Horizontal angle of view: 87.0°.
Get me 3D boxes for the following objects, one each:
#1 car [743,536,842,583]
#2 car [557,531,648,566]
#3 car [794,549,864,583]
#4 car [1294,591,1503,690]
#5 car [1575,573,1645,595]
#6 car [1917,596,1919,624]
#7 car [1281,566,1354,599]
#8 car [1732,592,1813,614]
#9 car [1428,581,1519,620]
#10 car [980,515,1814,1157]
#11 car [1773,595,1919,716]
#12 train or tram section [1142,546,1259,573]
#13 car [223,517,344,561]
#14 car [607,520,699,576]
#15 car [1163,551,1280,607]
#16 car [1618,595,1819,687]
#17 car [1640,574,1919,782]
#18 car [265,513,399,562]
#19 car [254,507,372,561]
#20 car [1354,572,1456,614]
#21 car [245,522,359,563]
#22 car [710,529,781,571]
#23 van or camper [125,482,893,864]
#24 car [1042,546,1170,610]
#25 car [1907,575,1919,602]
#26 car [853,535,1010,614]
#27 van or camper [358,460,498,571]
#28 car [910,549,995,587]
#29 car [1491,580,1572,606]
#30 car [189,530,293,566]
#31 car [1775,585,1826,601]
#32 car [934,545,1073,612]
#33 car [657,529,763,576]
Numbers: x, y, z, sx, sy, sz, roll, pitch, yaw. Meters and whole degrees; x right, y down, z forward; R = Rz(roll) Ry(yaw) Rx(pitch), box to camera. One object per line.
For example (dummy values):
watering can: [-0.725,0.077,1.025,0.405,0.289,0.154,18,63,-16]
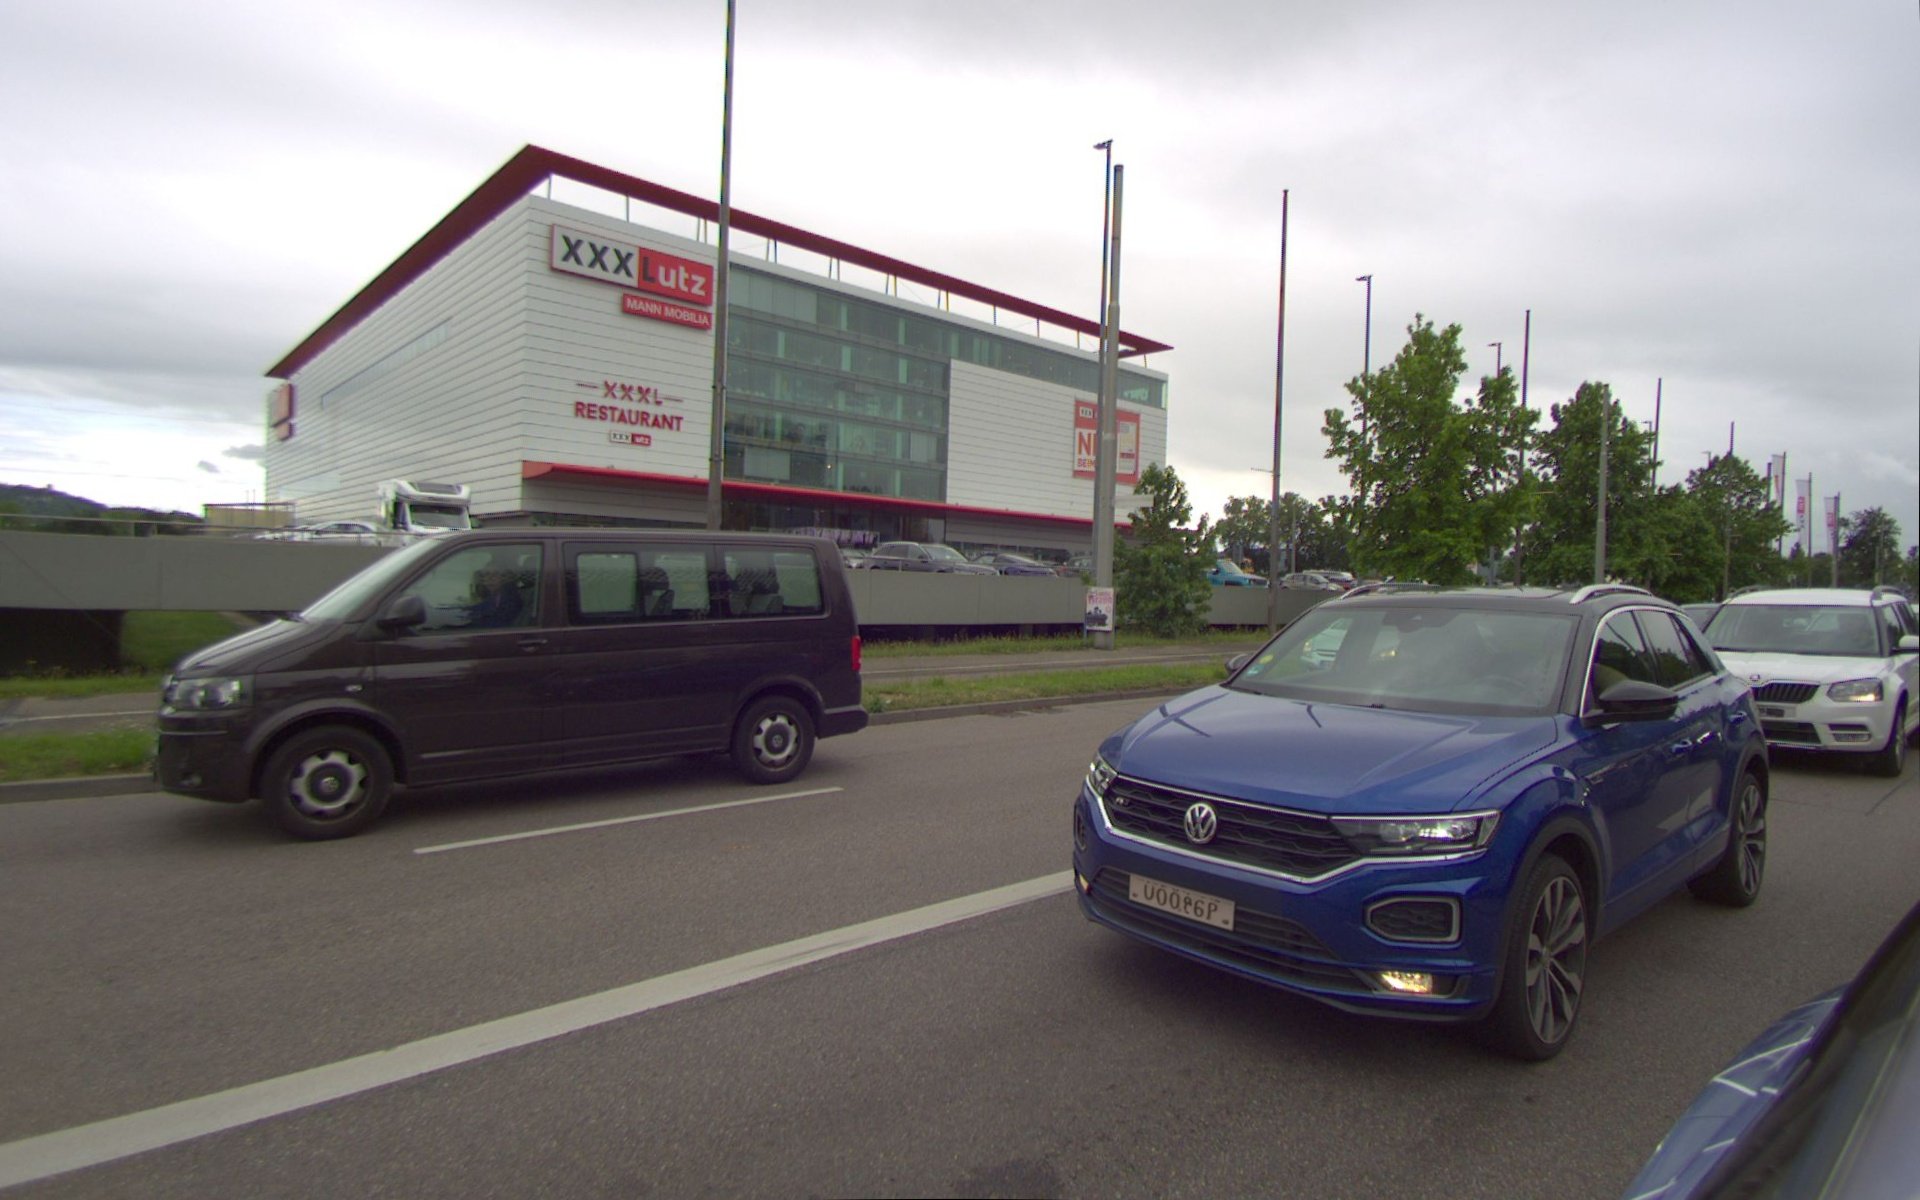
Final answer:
car: [-7.677,-1.834,46.551,4.112,2.039,1.995,0,0,10]
car: [-18.703,-2.671,53.022,4.185,1.697,1.774,-1,0,-41]
car: [-7.352,-1.878,56.647,1.967,1.761,3.991,-1,0,-43]
car: [7.119,0.562,16.261,3.860,1.389,1.691,-1,1,-43]
car: [47.520,-1.138,74.002,1.765,1.585,3.994,-1,0,-40]
car: [57.142,0.654,58.820,4.144,1.594,1.800,3,-2,-41]
car: [22.907,-1.113,64.943,1.966,2.039,3.991,0,0,-42]
car: [56.938,0.197,70.971,1.771,1.433,4.212,-1,1,-41]
car: [28.071,-0.002,55.423,1.965,2.039,3.994,0,0,-41]
car: [2.290,0.577,4.676,4.255,1.642,1.845,-1,0,-40]
car: [12.882,0.667,14.032,4.145,1.433,1.800,-1,1,-41]
train or tram section: [44.561,-7.468,189.480,3.572,4.899,23.232,0,1,-43]
car: [-29.032,-2.595,43.493,4.185,1.697,1.774,-1,0,-41]
car: [-11.695,-1.918,38.470,1.839,1.972,3.859,0,0,-44]
car: [10.084,-0.791,39.188,1.966,2.039,3.991,0,0,-42]
car: [13.551,0.687,17.974,4.790,1.429,1.815,2,-1,-40]
car: [8.526,0.589,10.084,4.297,1.645,1.798,-1,0,-40]
car: [-24.298,-2.380,39.233,4.185,1.697,1.774,-1,0,-41]
car: [-26.724,-2.669,41.863,3.929,2.039,1.998,-1,0,-40]
car: [22.664,-0.346,51.642,1.966,2.039,4.317,0,0,-42]
car: [-30.158,-2.584,46.427,4.185,1.697,1.774,-1,0,-41]
car: [-11.348,-2.607,53.396,1.966,2.039,3.991,0,0,-42]
van or camper: [-3.131,0.360,7.718,4.851,2.039,2.163,-1,0,-36]
car: [4.901,-0.716,34.408,1.966,2.039,3.991,0,0,-42]
car: [82.907,-0.963,86.989,3.933,2.270,1.996,1,1,-44]
car: [-0.884,-0.680,28.637,1.967,2.039,4.522,0,0,-43]
van or camper: [-17.983,-2.642,33.960,2.667,3.175,7.226,0,0,-40]
car: [-0.390,-1.505,49.171,1.967,1.761,3.991,-1,0,-43]
car: [35.045,-0.433,62.150,1.765,1.585,3.994,-1,0,-40]
car: [-36.762,-2.633,51.788,4.185,1.697,1.774,-1,0,-41]
car: [113.543,-0.940,136.789,1.966,2.039,5.081,0,0,-42]
car: [1.275,-0.624,30.631,1.967,1.872,3.991,-1,0,-43]
car: [-8.711,-1.590,35.067,1.839,1.455,3.984,-1,1,-44]
